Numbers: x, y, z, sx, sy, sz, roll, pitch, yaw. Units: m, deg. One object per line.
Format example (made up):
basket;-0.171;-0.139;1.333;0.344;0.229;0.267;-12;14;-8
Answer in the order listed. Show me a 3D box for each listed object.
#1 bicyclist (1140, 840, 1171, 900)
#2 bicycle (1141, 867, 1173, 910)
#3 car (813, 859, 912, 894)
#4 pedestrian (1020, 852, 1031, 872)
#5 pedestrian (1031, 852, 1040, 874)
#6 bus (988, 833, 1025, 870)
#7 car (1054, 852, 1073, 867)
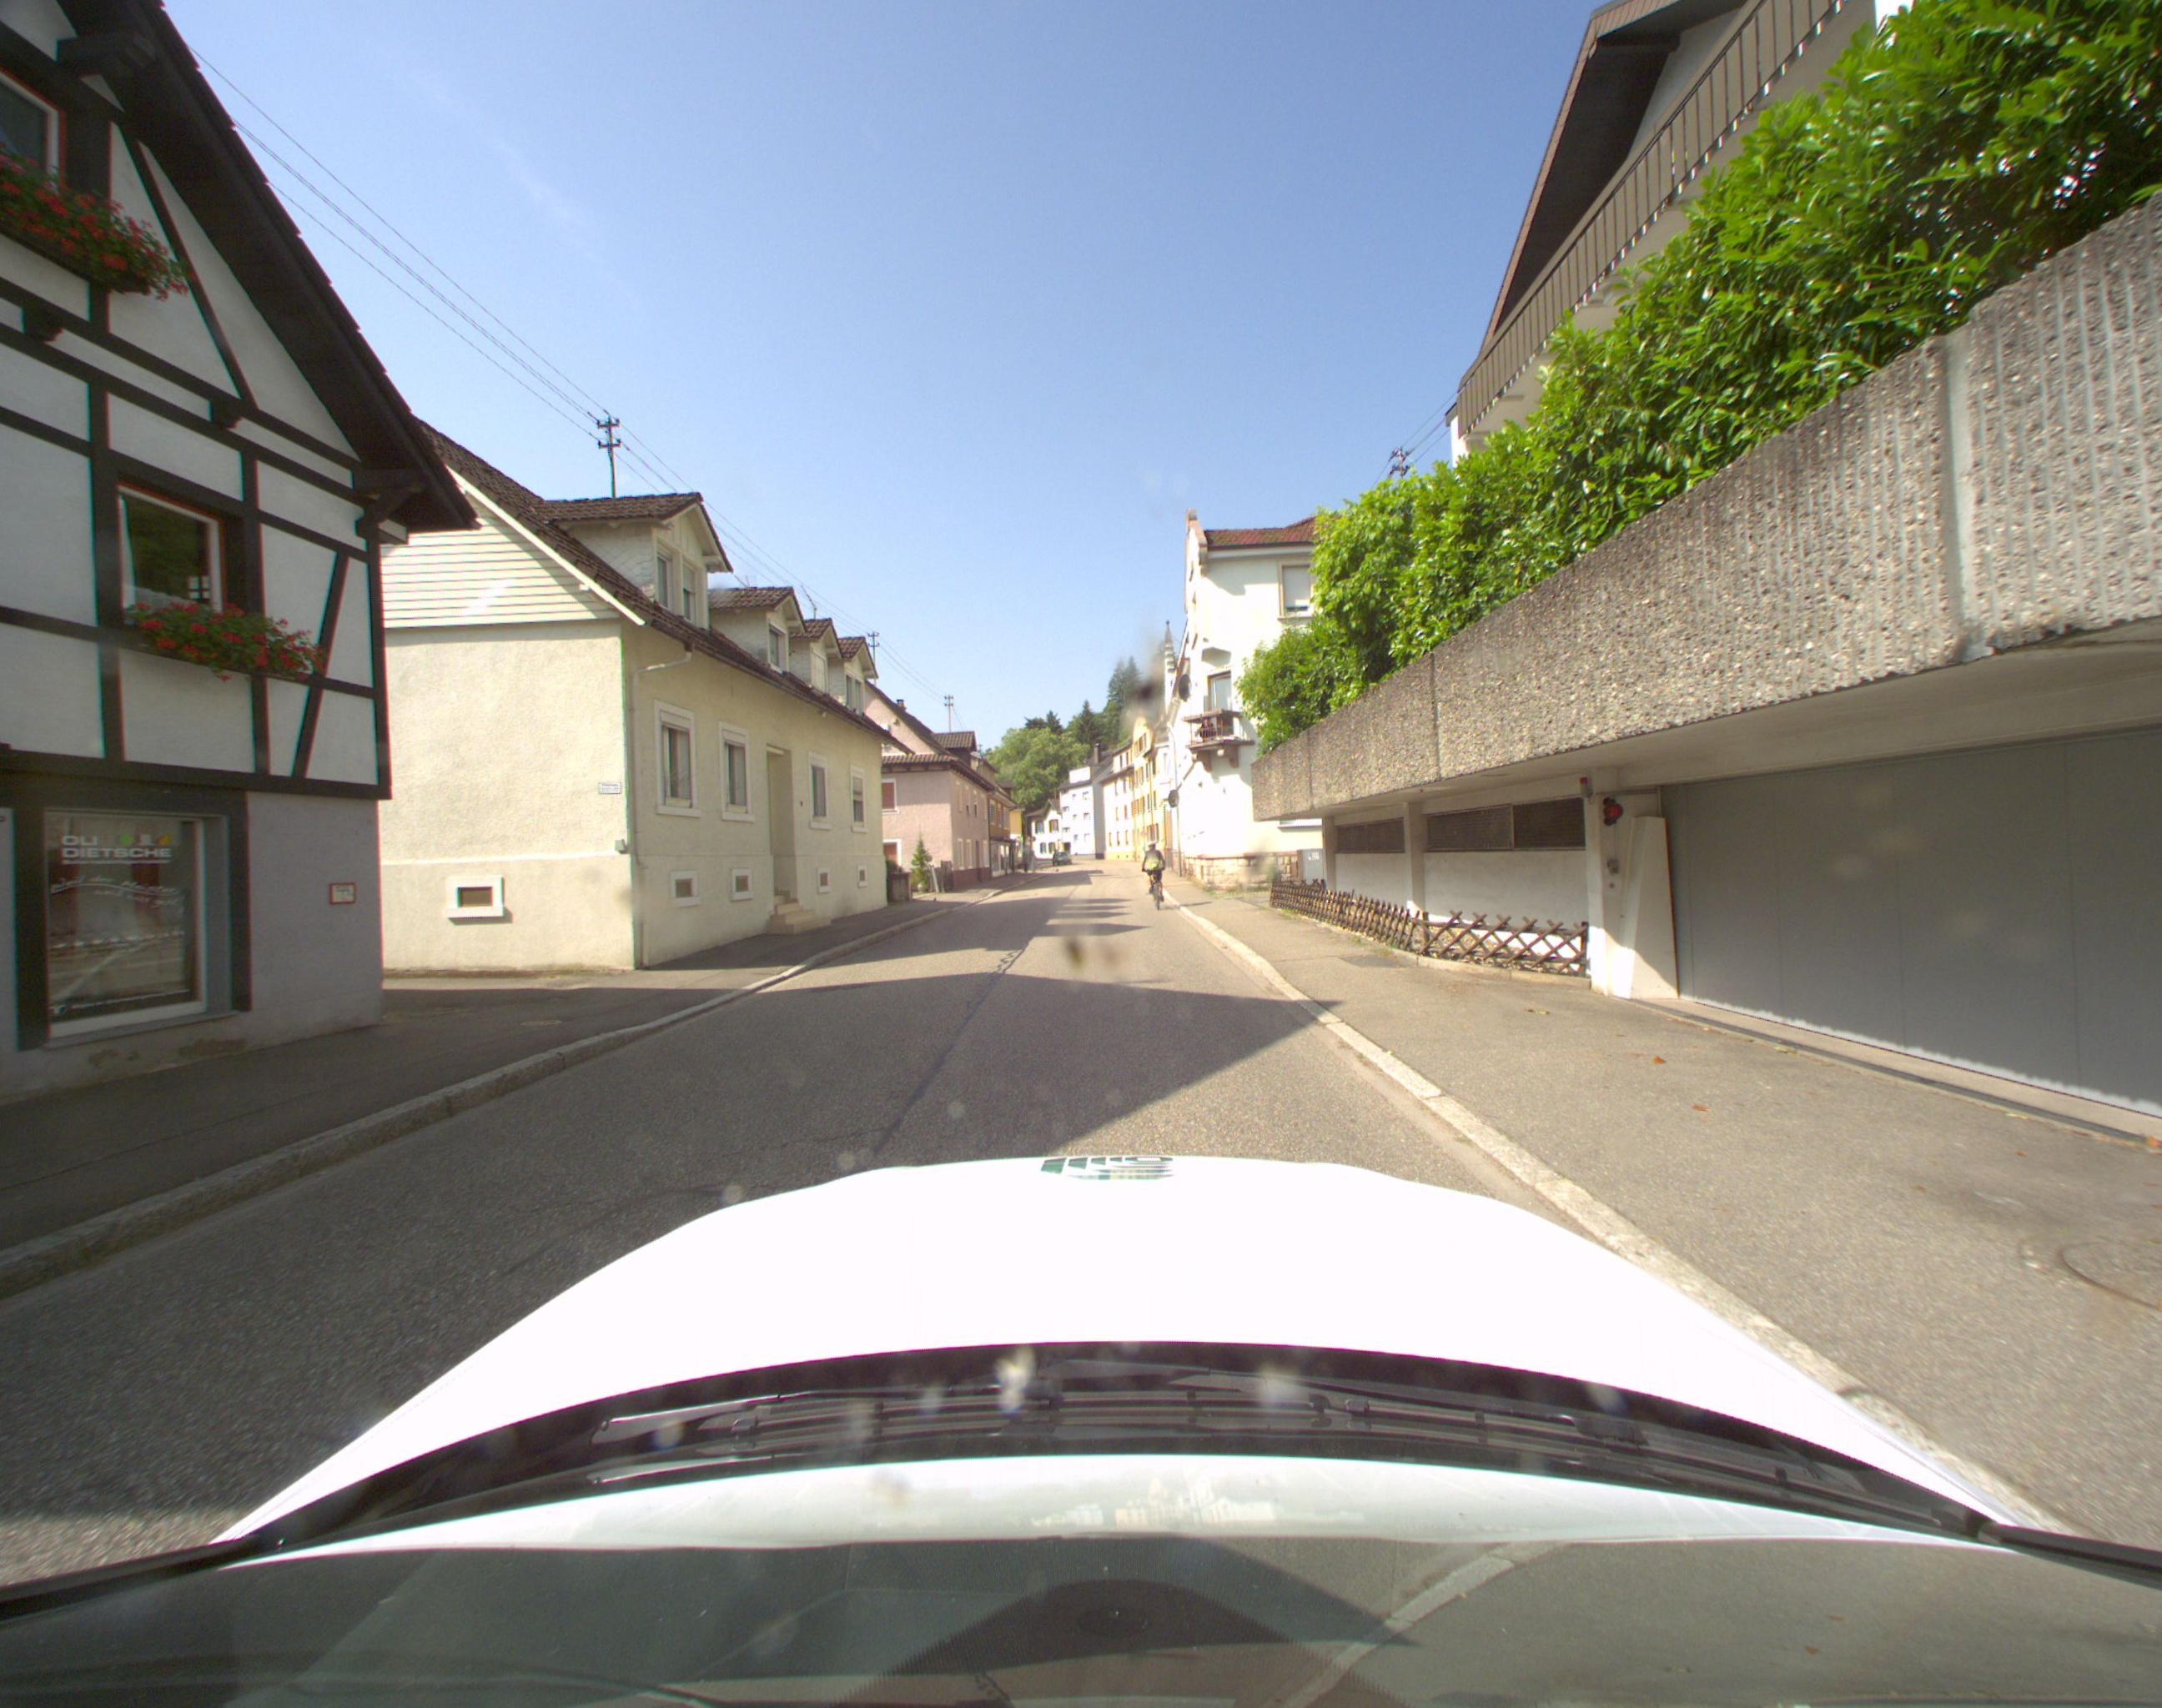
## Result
bicyclist;1.958;0.413;21.390;0.683;1.531;0.715;-3;0;0
bicycle;1.984;0.891;21.543;0.696;1.035;1.471;-2;0;0
car;-9.274;0.939;34.779;3.740;1.392;1.645;-1;1;-2
pedestrian;-4.294;0.604;63.177;0.732;1.564;0.825;1;0;2
pedestrian;-3.516;0.702;63.053;0.637;1.626;0.777;1;0;2
bus;-6.853;-0.267;76.163;2.812;3.228;9.031;-1;0;-1
car;-1.964;0.604;90.882;1.596;1.464;3.649;-5;0;-8
